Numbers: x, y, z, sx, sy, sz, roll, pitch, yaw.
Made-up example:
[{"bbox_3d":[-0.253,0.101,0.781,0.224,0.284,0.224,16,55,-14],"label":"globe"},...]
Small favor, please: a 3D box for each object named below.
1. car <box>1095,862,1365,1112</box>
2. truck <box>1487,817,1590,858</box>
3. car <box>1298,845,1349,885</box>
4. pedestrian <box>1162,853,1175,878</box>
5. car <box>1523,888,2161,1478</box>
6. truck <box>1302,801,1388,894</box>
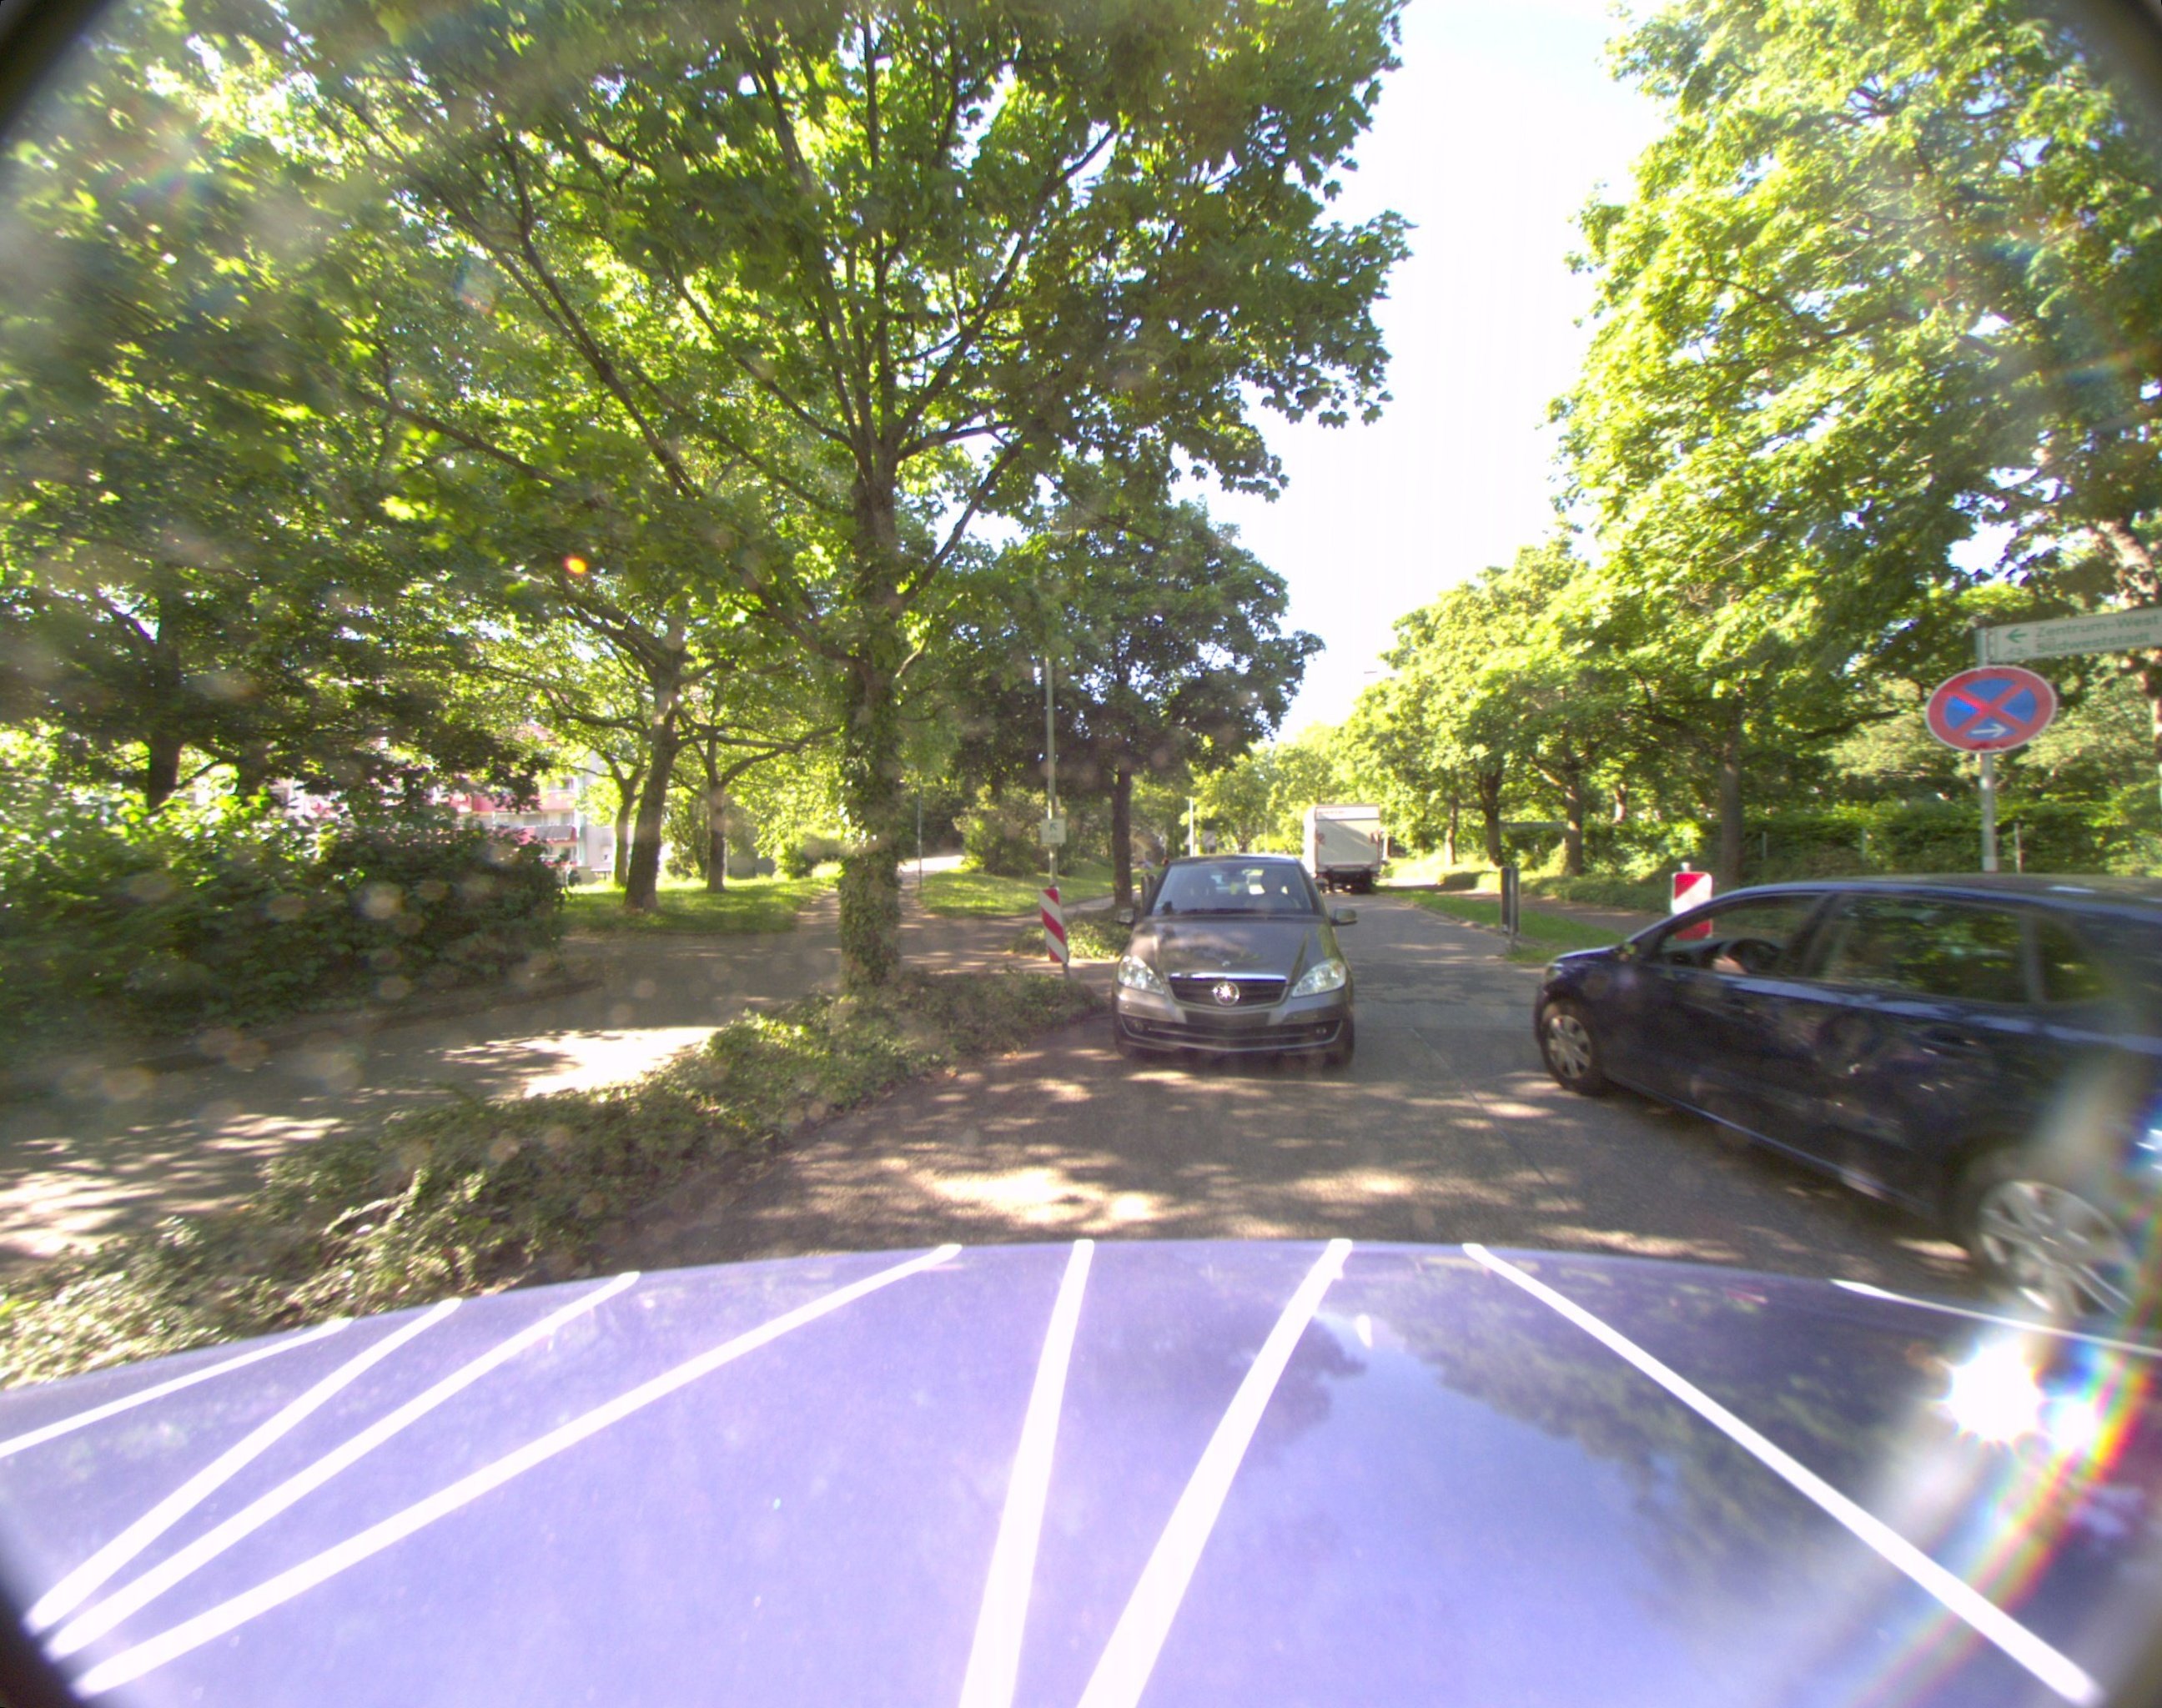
[{"bbox_3d":[1.321,0.908,7.051,1.733,1.578,4.003,-2,0,10],"label":"car"},{"bbox_3d":[23.450,-0.813,39.114,3.993,2.002,2.206,0,0,11],"label":"truck"},{"bbox_3d":[13.930,0.567,43.942,2.123,2.083,6.590,-2,0,12],"label":"car"},{"bbox_3d":[6.397,0.819,55.698,0.792,1.821,0.672,-2,0,14],"label":"pedestrian"},{"bbox_3d":[3.729,0.943,3.315,1.604,1.418,3.652,0,0,3],"label":"car"},{"bbox_3d":[11.689,-0.245,34.349,2.738,3.620,8.109,-2,0,13],"label":"truck"}]
